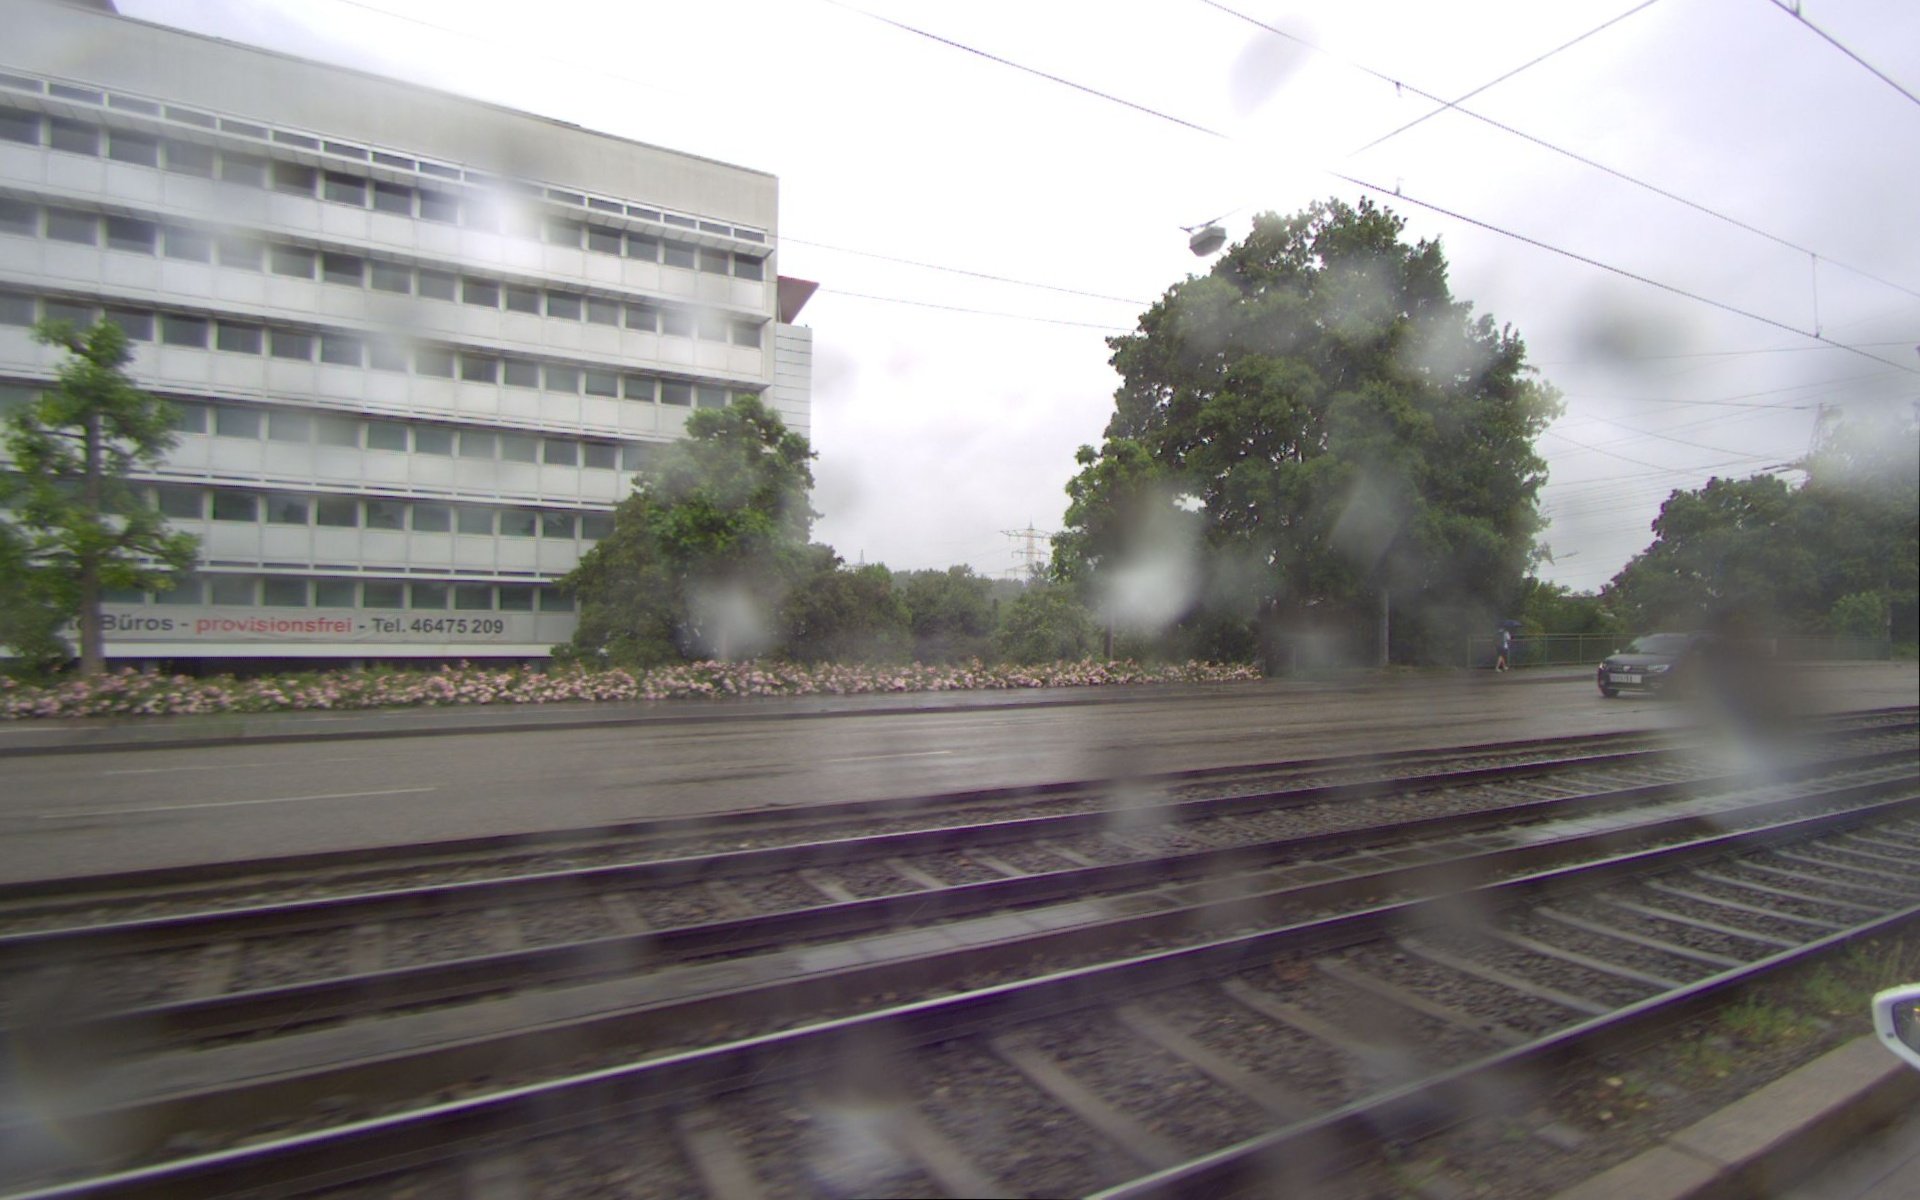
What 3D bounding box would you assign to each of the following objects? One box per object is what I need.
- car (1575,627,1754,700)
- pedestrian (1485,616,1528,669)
[{"bbox_3d":[17.278,1.485,24.607,4.201,1.639,1.985,1,-1,-29],"label":"car"},{"bbox_3d":[18.617,1.443,34.238,1.107,1.782,0.847,1,-1,-30],"label":"pedestrian"}]
